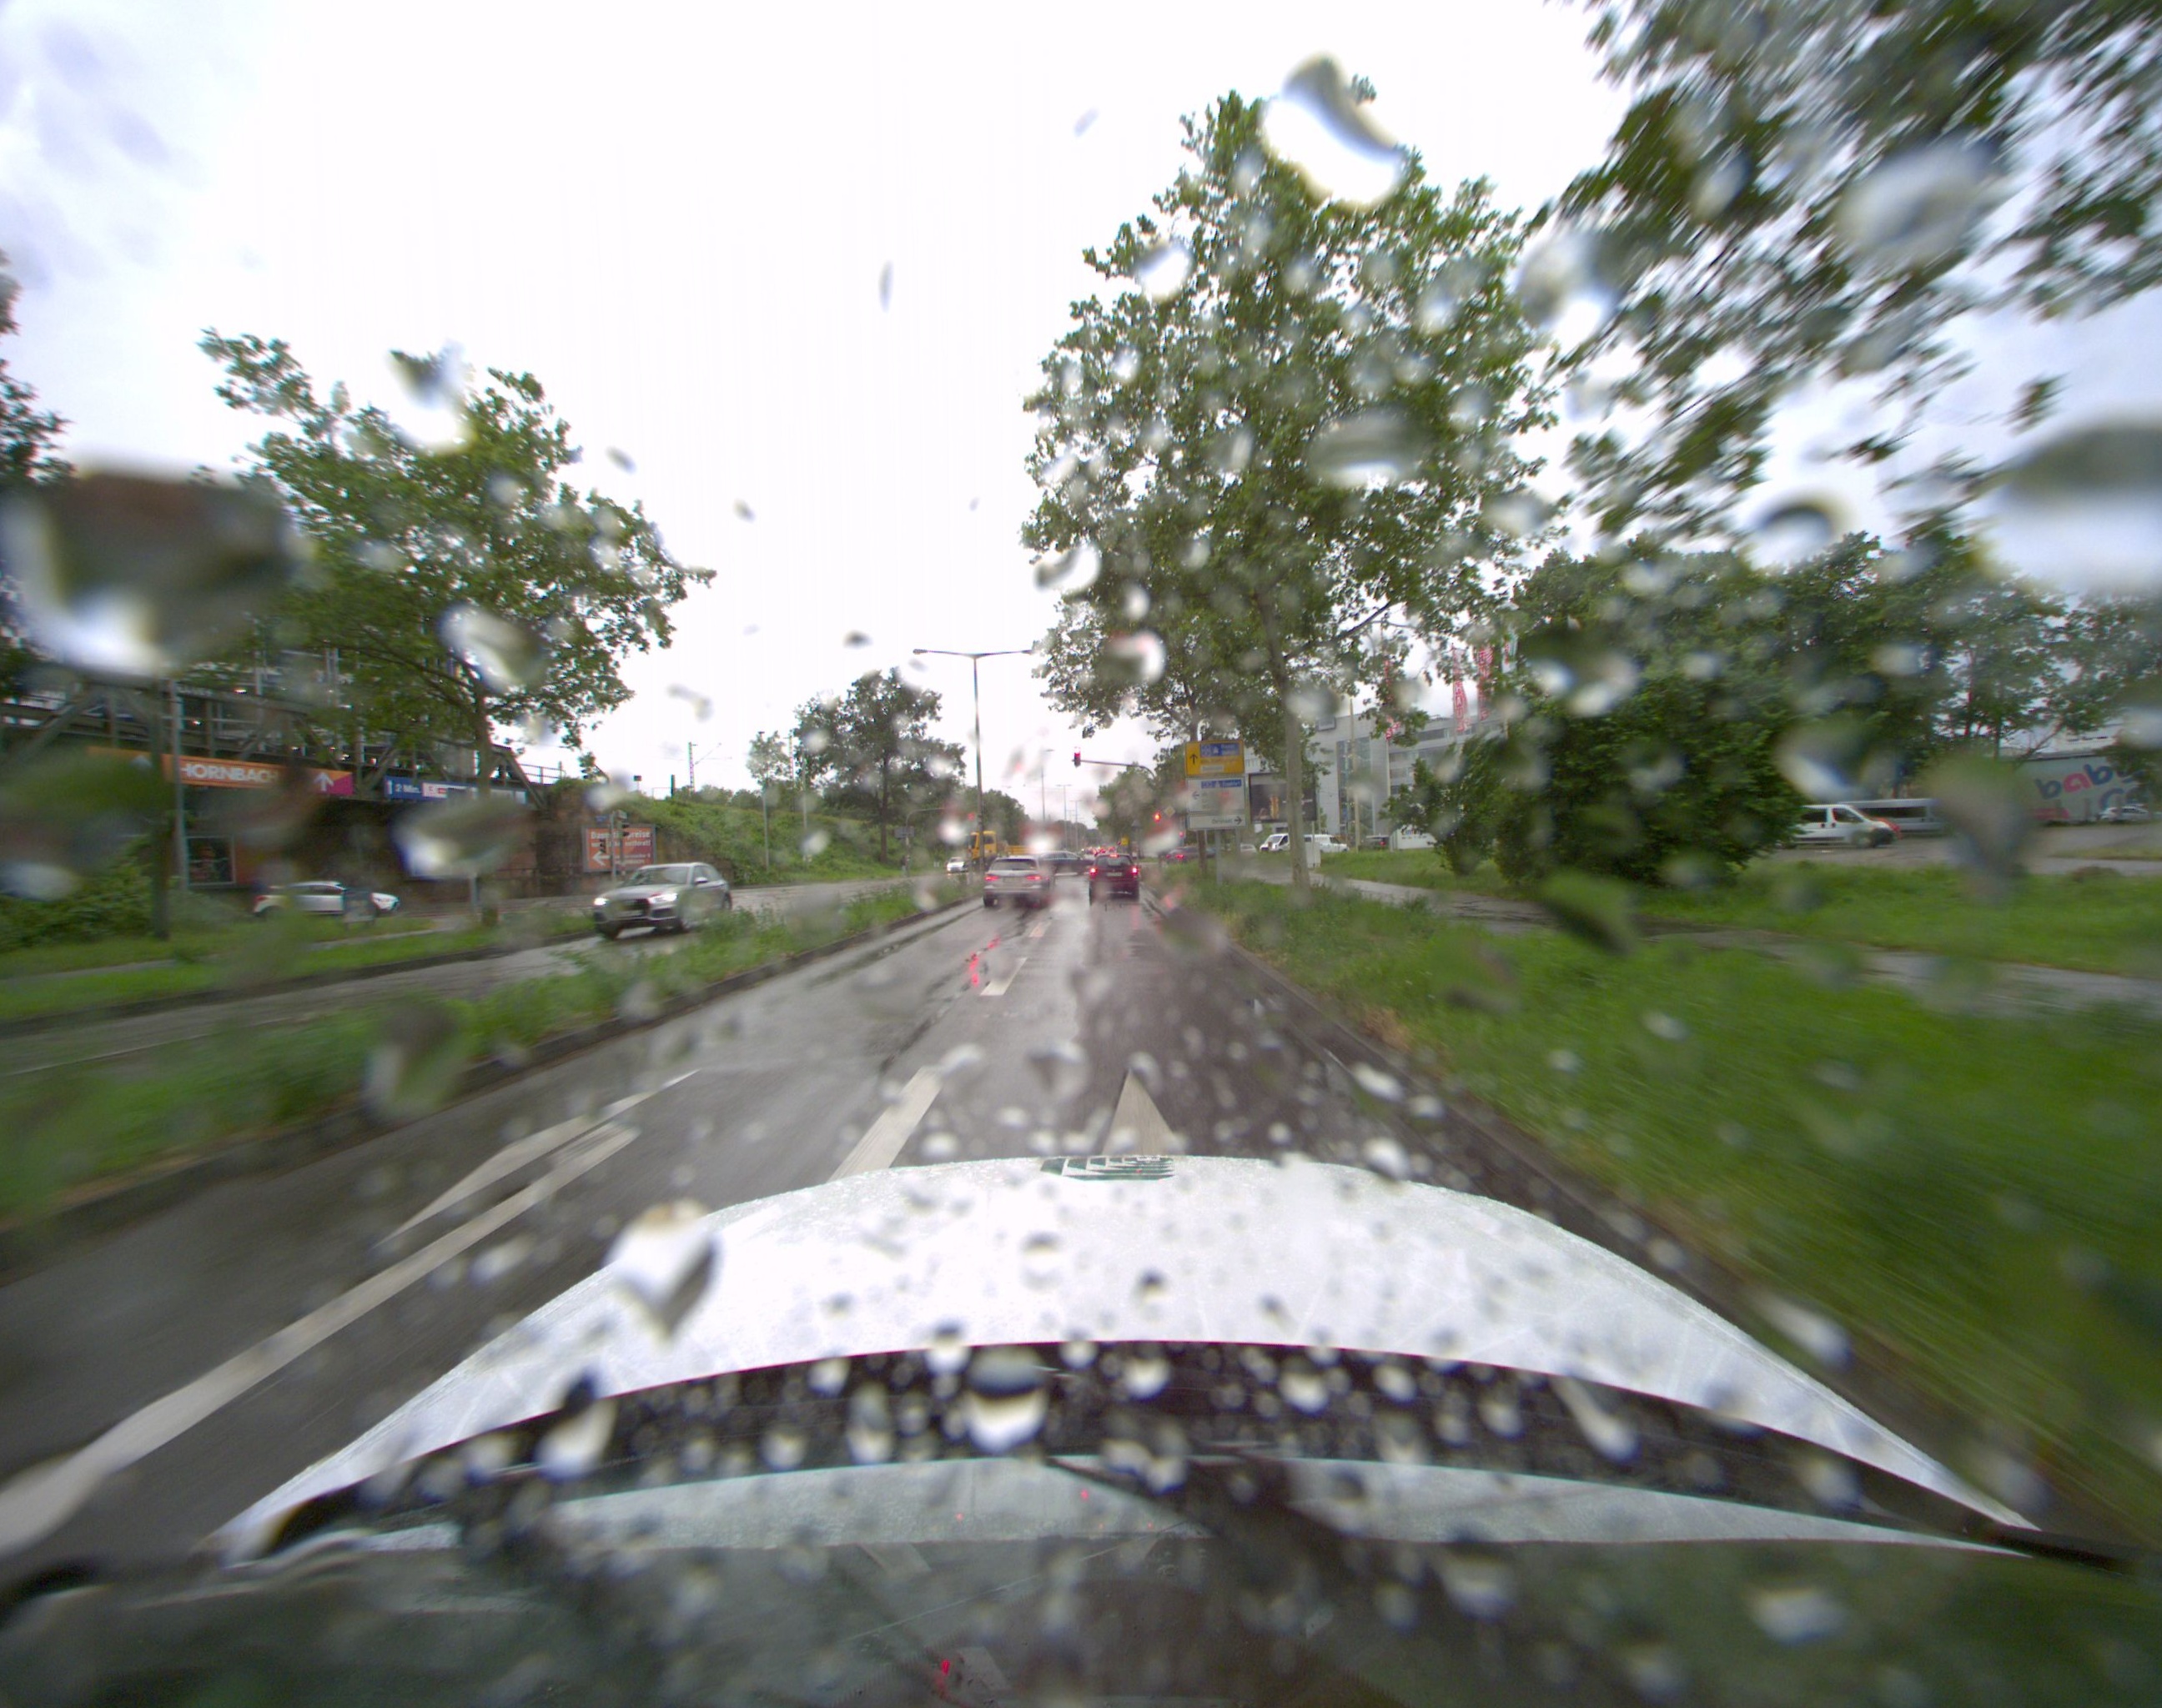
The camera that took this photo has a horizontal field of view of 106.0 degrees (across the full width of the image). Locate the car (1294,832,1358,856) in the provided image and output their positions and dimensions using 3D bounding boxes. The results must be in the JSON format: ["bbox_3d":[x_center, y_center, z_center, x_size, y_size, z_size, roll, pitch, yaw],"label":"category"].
[{"bbox_3d":[17.734,-0.718,58.957,4.398,1.537,1.786,-2,0,-28],"label":"car"}]

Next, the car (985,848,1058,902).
[{"bbox_3d":[-1.703,0.584,24.637,1.684,1.433,4.576,-1,0,2],"label":"car"}]

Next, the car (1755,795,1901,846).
[{"bbox_3d":[35.336,-1.548,38.665,1.815,2.153,4.859,-2,0,-39],"label":"car"}]

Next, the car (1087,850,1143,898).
[{"bbox_3d":[1.158,0.643,28.427,1.789,1.537,4.389,0,0,2],"label":"car"}]

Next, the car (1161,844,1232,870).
[{"bbox_3d":[7.533,0.206,52.985,4.398,1.537,1.786,-1,0,-28],"label":"car"}]

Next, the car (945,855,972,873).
[{"bbox_3d":[-11.362,0.905,75.521,1.706,1.530,4.002,-2,0,2],"label":"car"}]

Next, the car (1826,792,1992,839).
[{"bbox_3d":[50.326,-2.289,49.723,2.338,2.434,6.752,-2,0,-34],"label":"car"}]

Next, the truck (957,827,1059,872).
[{"bbox_3d":[-5.310,-0.341,60.065,7.079,3.054,2.618,-2,0,-36],"label":"truck"}]

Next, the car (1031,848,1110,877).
[{"bbox_3d":[-0.620,0.509,48.560,4.398,1.537,1.786,-2,0,-28],"label":"car"}]

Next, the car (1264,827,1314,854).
[{"bbox_3d":[18.906,-1.235,73.921,4.405,2.190,1.783,-5,1,-33],"label":"car"}]

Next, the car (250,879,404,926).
[{"bbox_3d":[-29.462,1.854,32.014,4.077,1.521,1.980,-2,0,-32],"label":"car"}]

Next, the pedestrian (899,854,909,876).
[{"bbox_3d":[-14.460,0.876,66.426,0.528,1.786,0.676,-1,-1,19],"label":"pedestrian"}]

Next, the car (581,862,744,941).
[{"bbox_3d":[-9.995,1.046,19.907,1.853,1.589,4.511,-2,0,-4],"label":"car"}]

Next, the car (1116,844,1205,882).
[{"bbox_3d":[4.036,0.425,41.071,4.409,1.537,1.781,-5,3,-38],"label":"car"}]

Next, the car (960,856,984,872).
[{"bbox_3d":[-10.983,0.965,82.055,1.706,1.530,4.002,-2,0,2],"label":"car"}]
